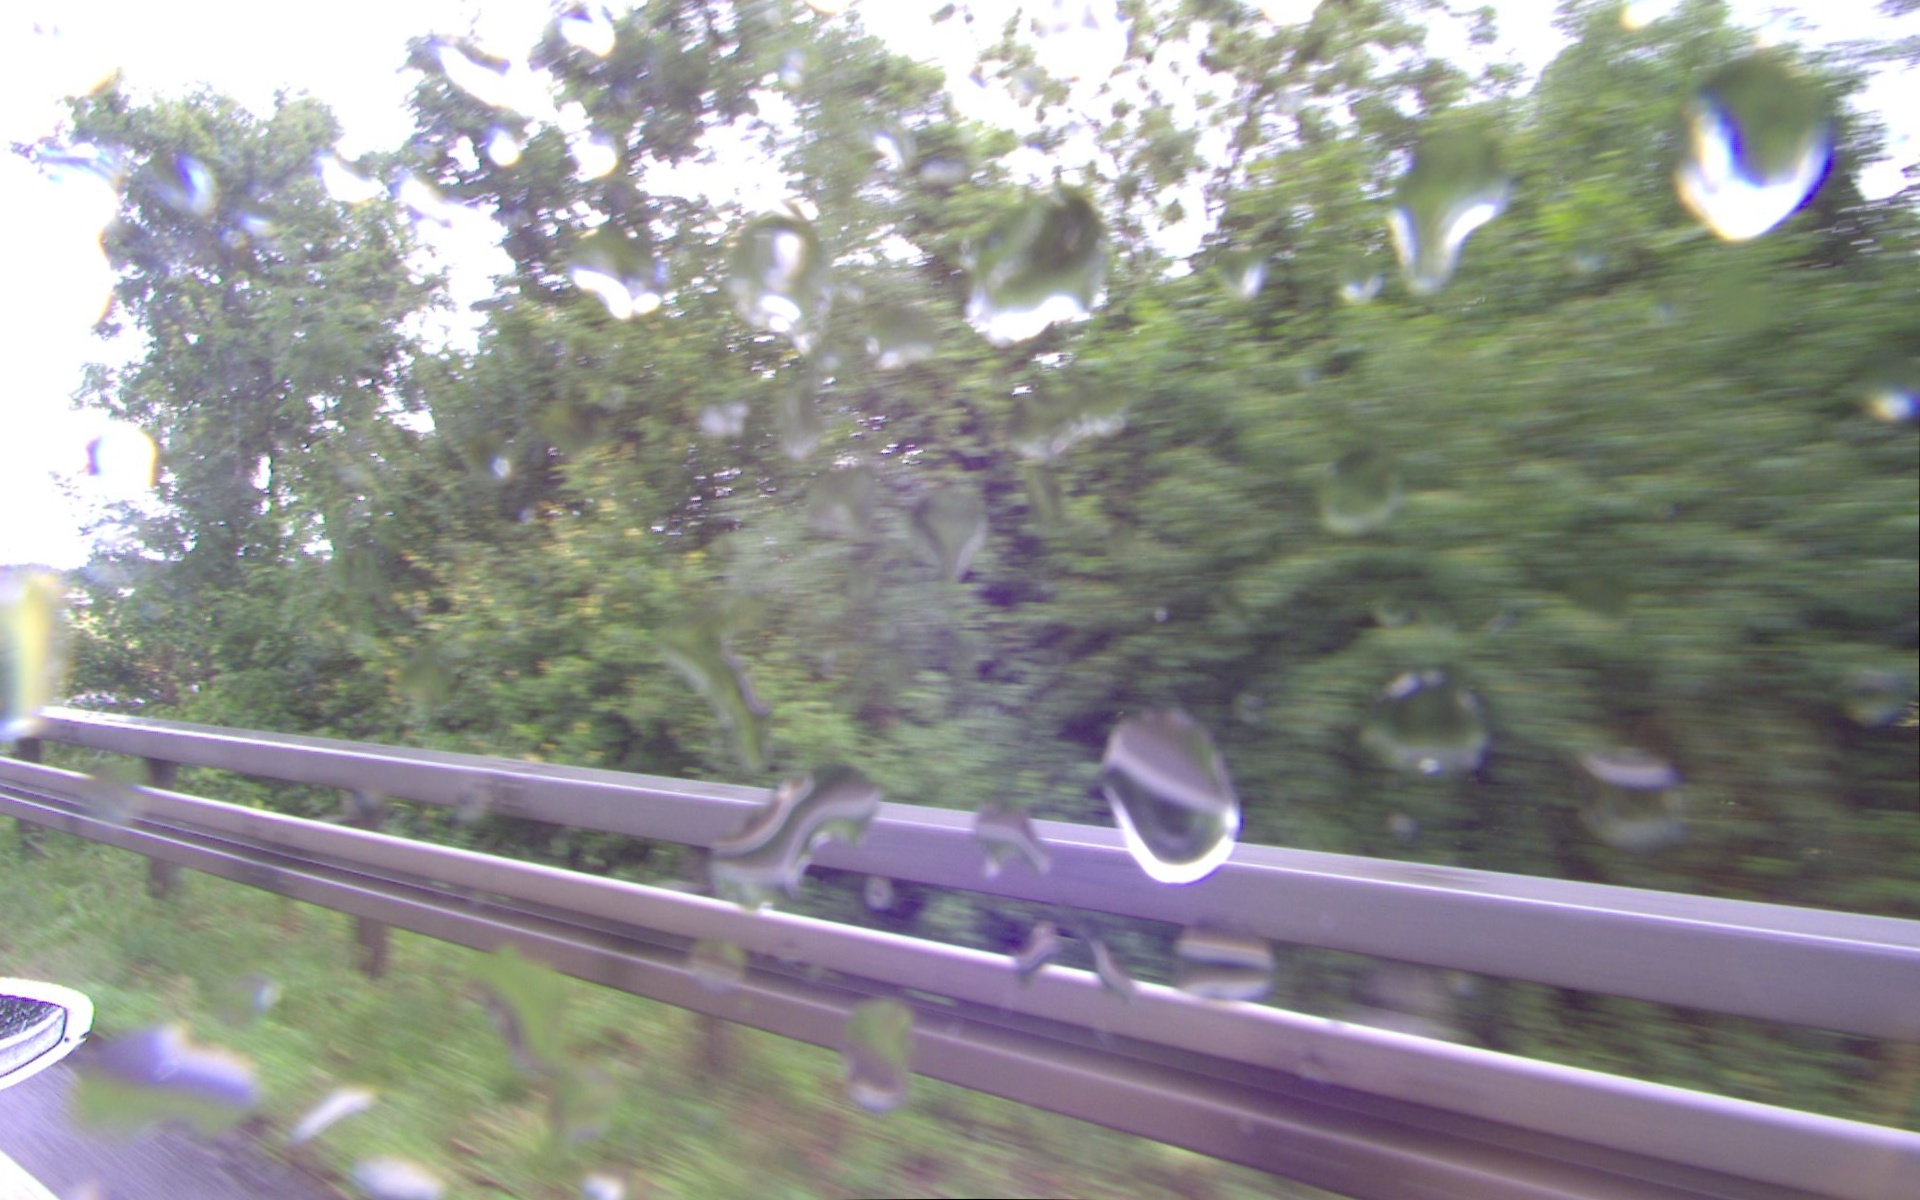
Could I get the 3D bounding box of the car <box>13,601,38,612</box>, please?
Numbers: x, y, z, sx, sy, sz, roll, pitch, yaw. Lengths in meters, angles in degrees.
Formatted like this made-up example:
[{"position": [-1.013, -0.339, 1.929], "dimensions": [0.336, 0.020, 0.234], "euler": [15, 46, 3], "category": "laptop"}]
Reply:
[{"position": [-175.659, 1.202, 188.218], "dimensions": [2.113, 2.039, 3.989], "euler": [0, -1, -22], "category": "car"}]
